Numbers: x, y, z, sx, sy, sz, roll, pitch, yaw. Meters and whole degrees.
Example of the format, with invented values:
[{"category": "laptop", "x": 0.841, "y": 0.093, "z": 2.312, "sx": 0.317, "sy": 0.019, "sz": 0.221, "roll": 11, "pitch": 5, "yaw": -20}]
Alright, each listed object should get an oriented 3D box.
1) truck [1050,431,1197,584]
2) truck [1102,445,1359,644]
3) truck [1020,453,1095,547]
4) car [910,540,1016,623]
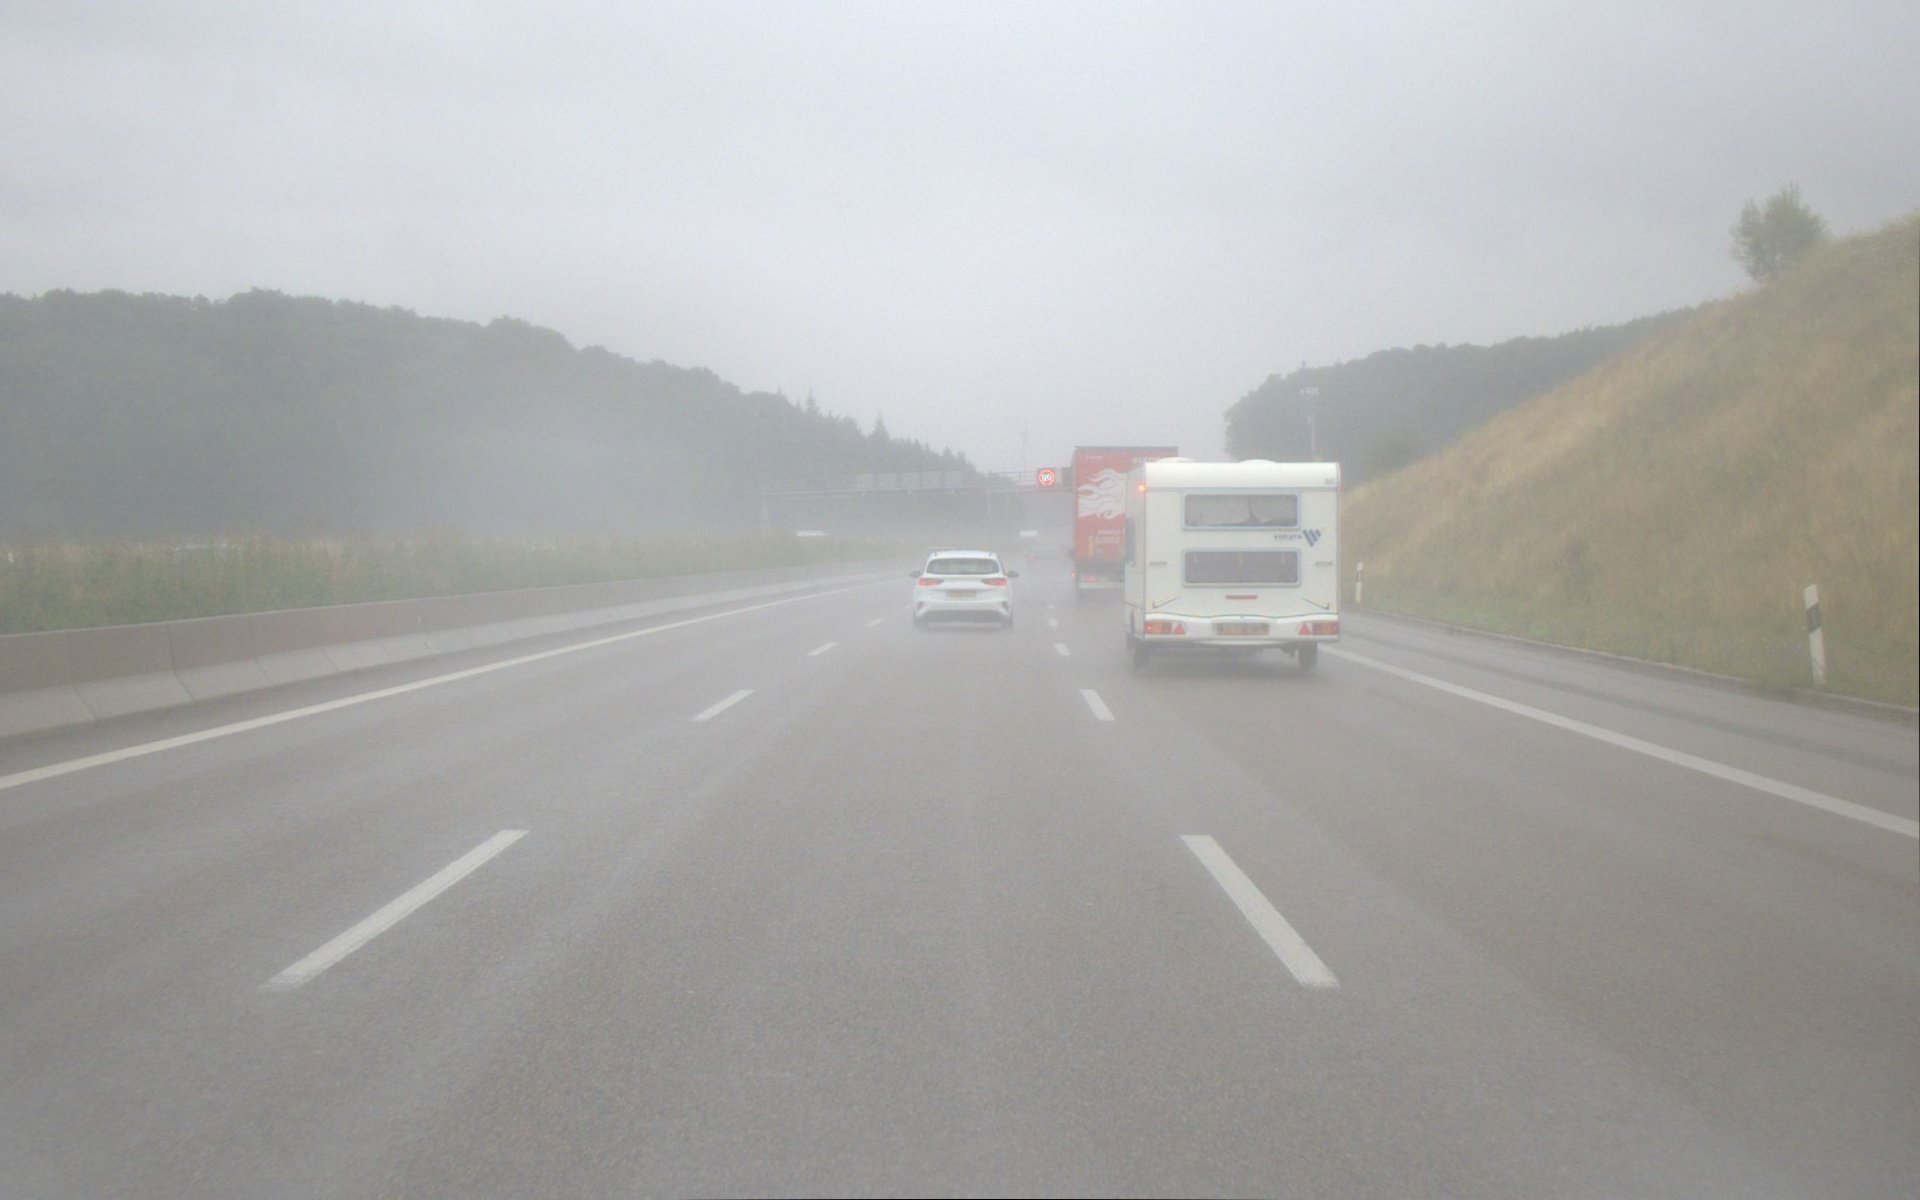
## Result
[{"category": "truck", "x": 4.425, "y": -2.426, "z": 90.588, "sx": 3.528, "sy": 3.730, "sz": 11.425, "roll": 1, "pitch": 2, "yaw": 4}, {"category": "truck", "x": 3.156, "y": -0.653, "z": 41.176, "sx": 2.407, "sy": 2.244, "sz": 4.693, "roll": 0, "pitch": 1, "yaw": -4}, {"category": "truck", "x": 7.444, "y": -7.505, "z": 261.334, "sx": 5.414, "sy": 6.815, "sz": 19.455, "roll": 0, "pitch": 1, "yaw": 2}, {"category": "car", "x": 0.025, "y": -0.328, "z": 62.608, "sx": 1.867, "sy": 1.458, "sz": 4.000, "roll": 0, "pitch": 0, "yaw": -1}]
